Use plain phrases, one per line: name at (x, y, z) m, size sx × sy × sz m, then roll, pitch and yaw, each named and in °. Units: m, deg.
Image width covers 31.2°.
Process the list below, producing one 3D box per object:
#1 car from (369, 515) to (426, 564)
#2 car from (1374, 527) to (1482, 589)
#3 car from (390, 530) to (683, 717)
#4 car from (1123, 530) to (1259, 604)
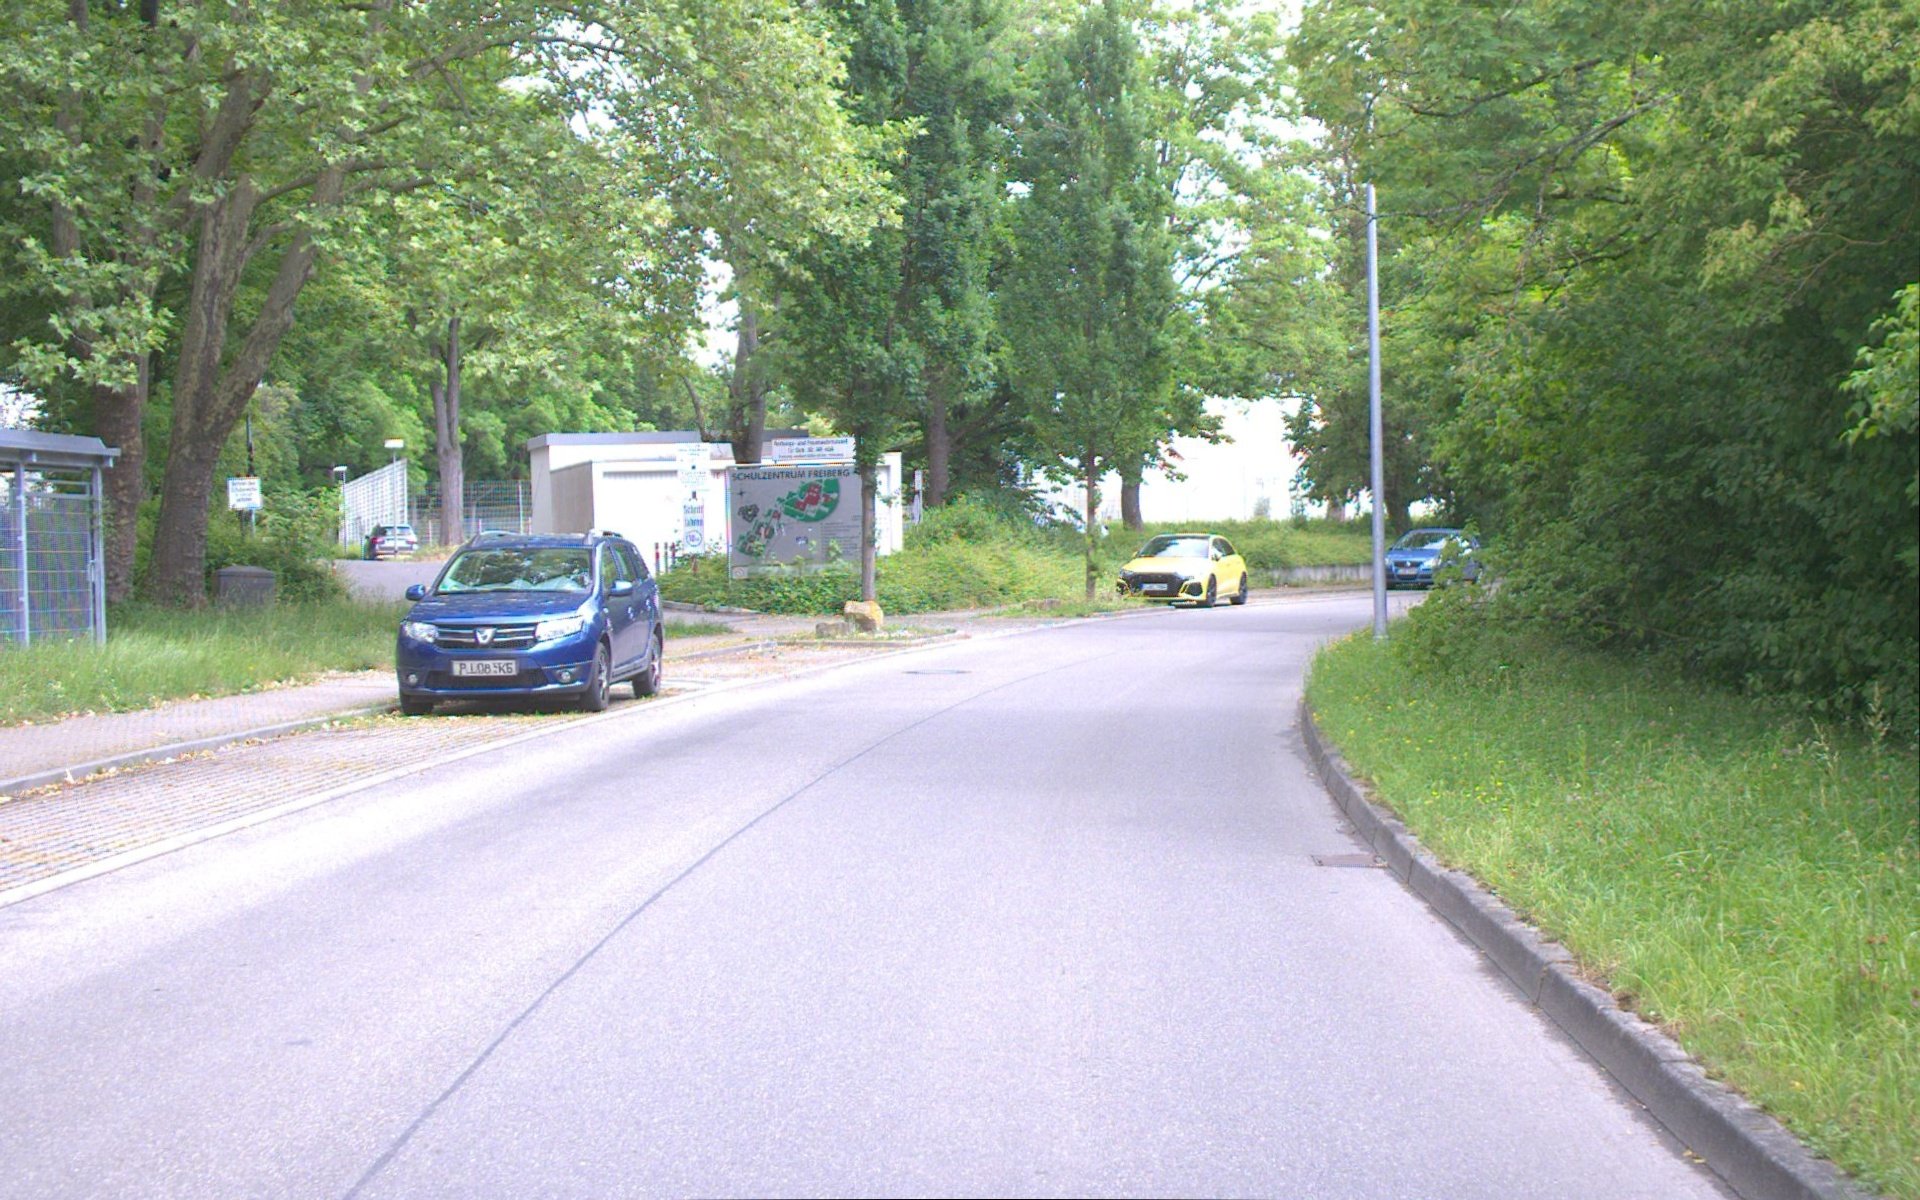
car at (-20.735, -2.244, 126.856) m, size 1.872 × 1.740 × 4.001 m, roll -2°, pitch 1°, yaw -7°
car at (11.432, -1.034, 83.867) m, size 1.535 × 1.454 × 3.715 m, roll 0°, pitch 1°, yaw 26°
car at (-3.626, 0.150, 30.173) m, size 1.680 × 1.506 × 4.431 m, roll -1°, pitch 1°, yaw 5°
car at (4.569, -0.660, 67.603) m, size 1.701 × 1.398 × 4.270 m, roll 0°, pitch 1°, yaw 18°
